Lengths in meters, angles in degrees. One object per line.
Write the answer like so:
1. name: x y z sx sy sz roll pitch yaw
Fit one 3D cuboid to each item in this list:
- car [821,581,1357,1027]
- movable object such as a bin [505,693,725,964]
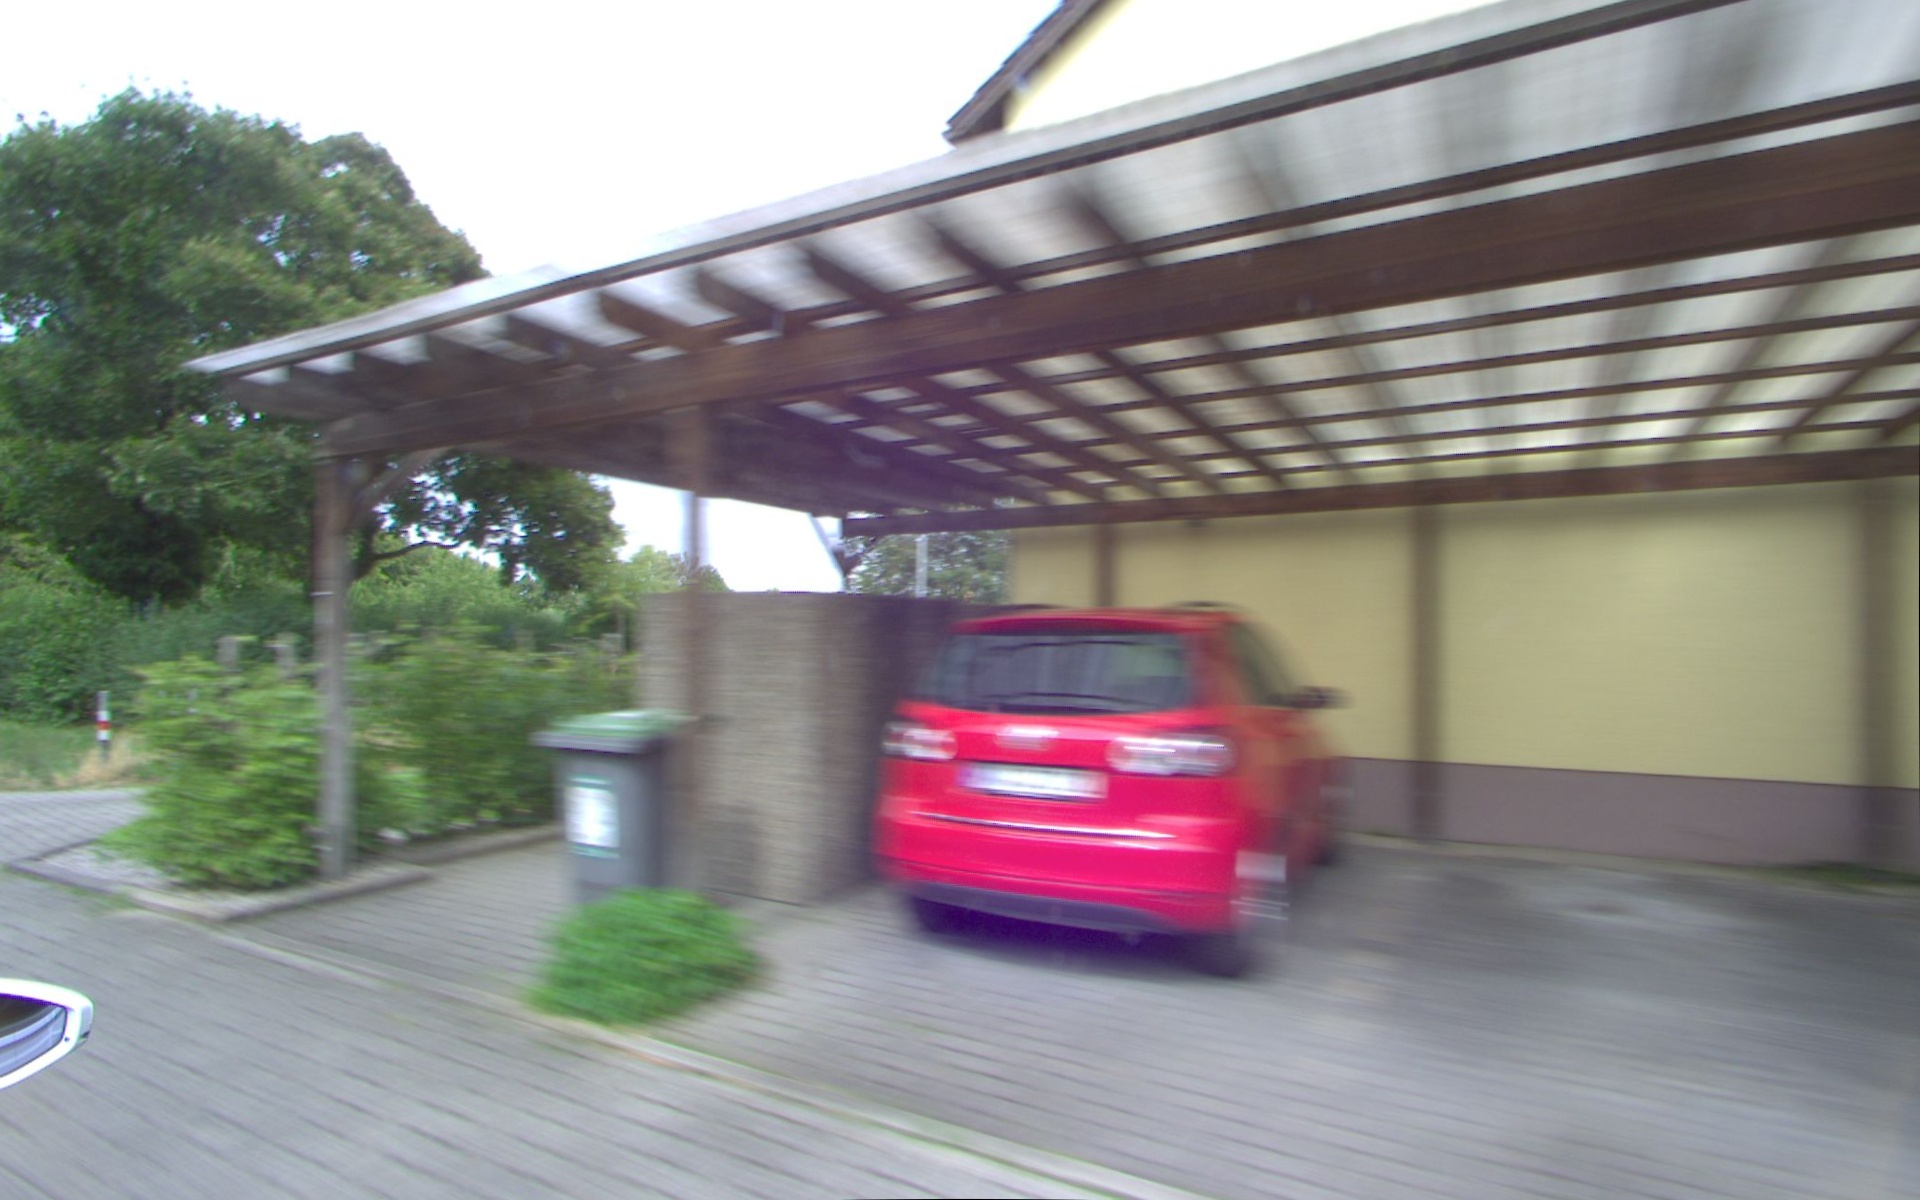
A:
1. car: 1.097 0.790 5.701 1.810 1.559 3.957 -1 -2 27
2. movable object such as a bin: -1.613 1.014 4.730 0.700 1.086 0.699 -1 -1 27
